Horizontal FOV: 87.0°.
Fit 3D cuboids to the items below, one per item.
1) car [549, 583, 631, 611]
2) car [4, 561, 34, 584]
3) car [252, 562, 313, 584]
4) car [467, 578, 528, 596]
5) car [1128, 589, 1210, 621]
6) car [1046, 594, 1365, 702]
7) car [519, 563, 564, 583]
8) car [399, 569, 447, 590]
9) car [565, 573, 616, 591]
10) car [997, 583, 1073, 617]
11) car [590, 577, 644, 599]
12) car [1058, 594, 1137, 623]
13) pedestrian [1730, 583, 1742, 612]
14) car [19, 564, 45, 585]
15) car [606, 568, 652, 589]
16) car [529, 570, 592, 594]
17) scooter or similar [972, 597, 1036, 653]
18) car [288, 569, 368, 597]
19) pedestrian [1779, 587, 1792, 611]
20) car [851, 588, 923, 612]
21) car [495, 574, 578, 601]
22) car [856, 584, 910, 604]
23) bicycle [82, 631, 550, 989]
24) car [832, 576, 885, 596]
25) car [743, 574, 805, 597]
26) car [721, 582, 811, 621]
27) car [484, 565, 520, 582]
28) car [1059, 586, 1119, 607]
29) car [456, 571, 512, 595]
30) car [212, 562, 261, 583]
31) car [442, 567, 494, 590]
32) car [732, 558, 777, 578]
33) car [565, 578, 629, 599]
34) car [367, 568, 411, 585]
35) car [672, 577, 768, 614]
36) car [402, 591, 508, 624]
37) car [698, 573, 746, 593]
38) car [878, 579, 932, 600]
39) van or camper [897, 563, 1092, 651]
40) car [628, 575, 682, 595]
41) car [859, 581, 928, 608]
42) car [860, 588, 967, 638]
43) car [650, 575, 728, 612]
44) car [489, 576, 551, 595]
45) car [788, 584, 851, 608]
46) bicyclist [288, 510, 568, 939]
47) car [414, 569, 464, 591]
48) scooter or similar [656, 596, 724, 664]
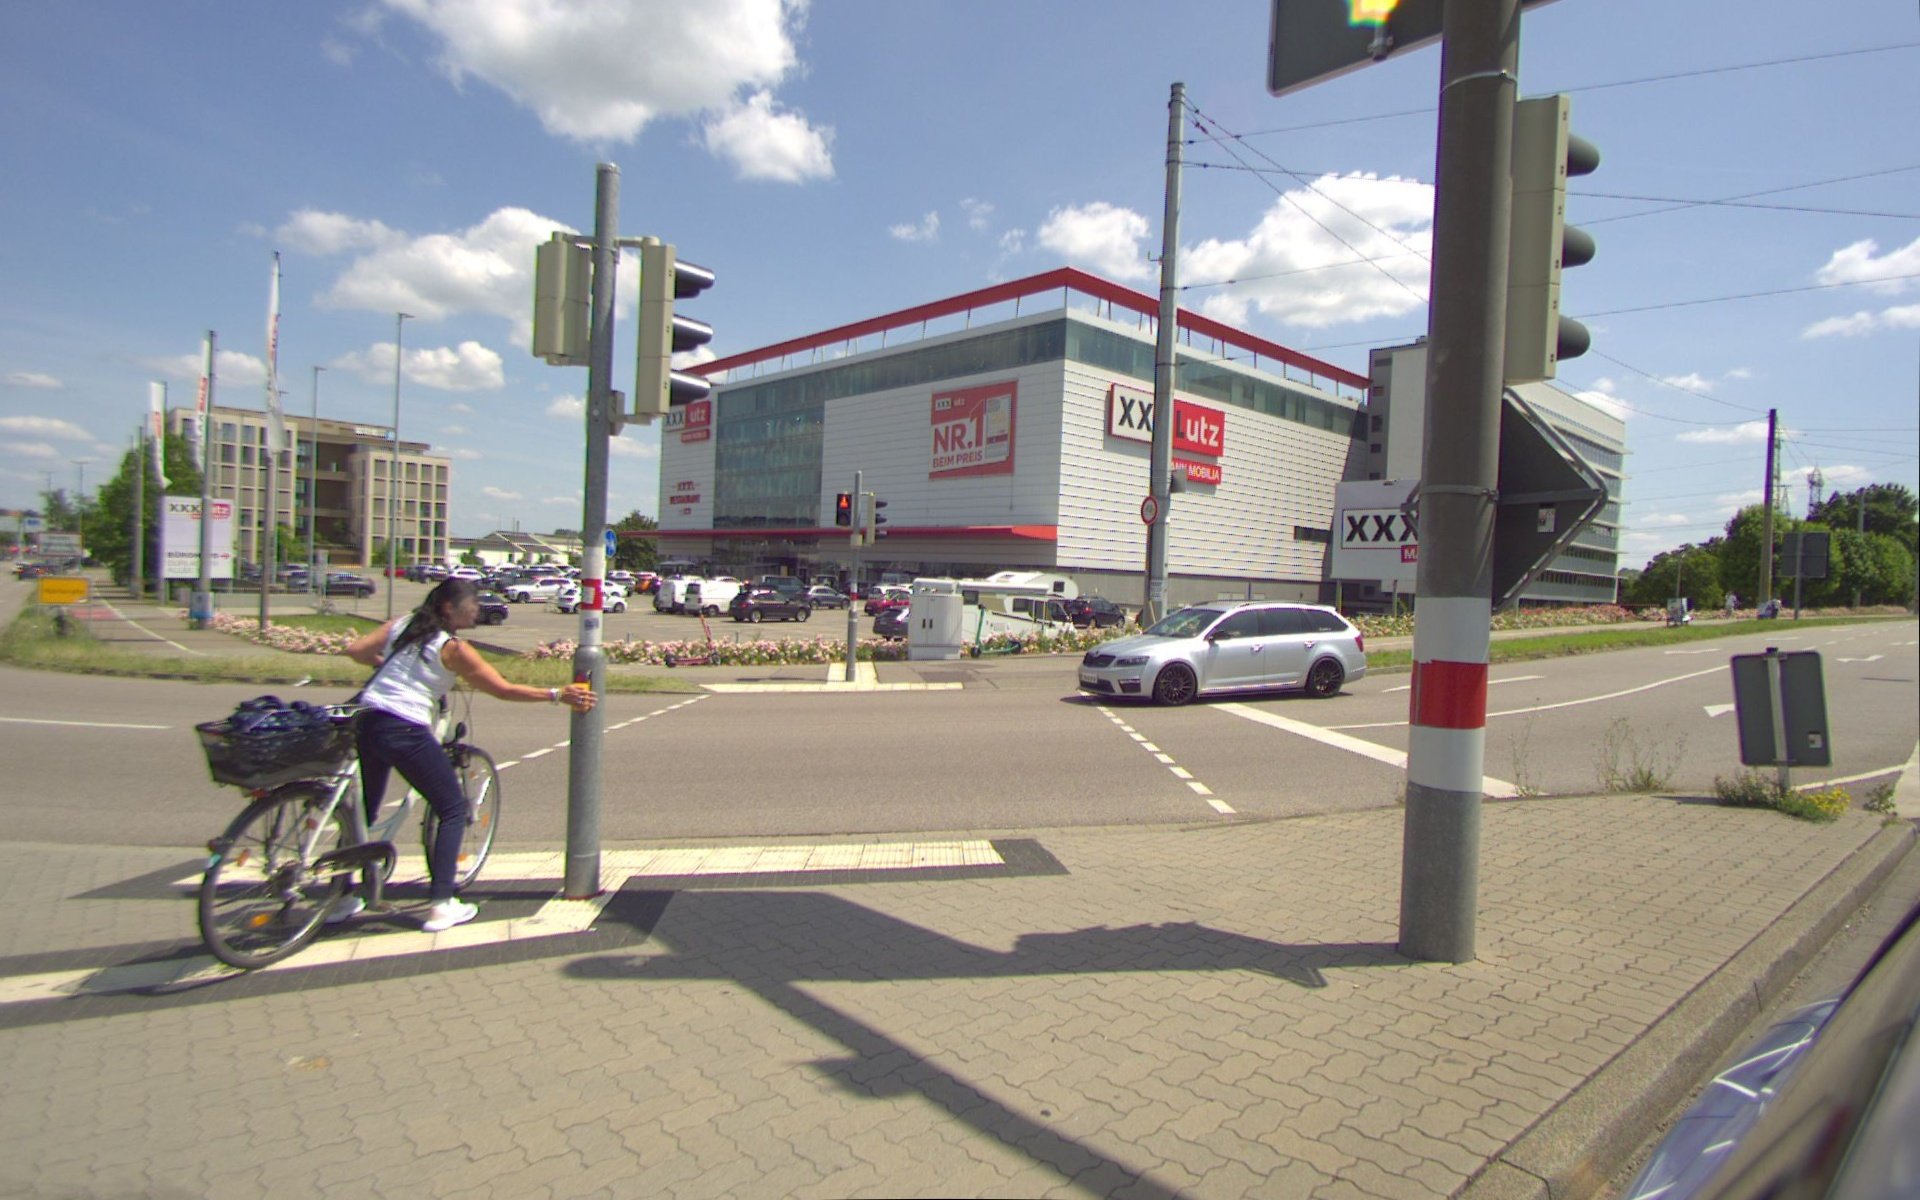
[{"bbox_3d":[-20.928,-0.184,57.320,1.847,1.565,3.939,1,1,42],"label":"car"},{"bbox_3d":[-87.442,-2.530,94.085,1.966,2.039,3.992,0,1,-42],"label":"car"},{"bbox_3d":[-55.028,-2.154,82.199,3.928,1.705,1.998,0,1,-39],"label":"car"},{"bbox_3d":[-37.517,-1.028,82.184,4.181,1.430,1.858,0,1,-41],"label":"car"},{"bbox_3d":[10.986,0.214,53.124,4.442,1.583,1.996,0,1,-42],"label":"car"},{"bbox_3d":[3.640,0.636,15.042,4.367,1.415,1.807,0,1,-22],"label":"car"},{"bbox_3d":[-43.795,-2.786,105.990,3.929,2.039,1.998,0,1,-40],"label":"car"},{"bbox_3d":[-53.949,-2.038,101.707,3.931,2.039,1.997,0,1,-42],"label":"car"},{"bbox_3d":[-34.722,-1.676,95.103,4.098,1.723,1.852,0,1,-41],"label":"car"},{"bbox_3d":[4.478,-0.015,60.074,4.443,1.918,1.996,0,1,-42],"label":"car"},{"bbox_3d":[-26.461,-0.921,78.054,3.550,1.671,1.702,0,1,-42],"label":"car"},{"bbox_3d":[7.707,0.442,56.602,4.443,1.574,1.996,0,1,-42],"label":"car"},{"bbox_3d":[48.838,-0.156,63.687,0.623,1.816,0.517,0,0,-44],"label":"pedestrian"},{"bbox_3d":[-95.303,-2.632,103.935,1.966,2.039,3.992,0,1,-42],"label":"car"},{"bbox_3d":[-33.280,-2.184,101.797,3.931,2.039,1.997,0,1,-42],"label":"car"},{"bbox_3d":[-30.531,-1.389,77.411,4.097,1.723,1.852,0,1,-41],"label":"car"},{"bbox_3d":[0.957,0.540,22.130,1.252,1.140,0.481,-3,1,-15],"label":"scooter or similar"},{"bbox_3d":[-40.737,-1.089,65.319,1.994,1.705,4.058,1,1,44],"label":"car"},{"bbox_3d":[57.187,-0.075,70.086,0.623,1.676,0.598,0,0,-44],"label":"pedestrian"},{"bbox_3d":[-4.466,-0.039,62.399,4.183,1.430,1.857,-1,1,-43],"label":"car"},{"bbox_3d":[-28.054,-0.845,67.089,4.783,1.723,1.852,0,1,-40],"label":"car"},{"bbox_3d":[-6.709,-0.528,88.125,4.445,1.714,1.995,0,1,-44],"label":"car"},{"bbox_3d":[-2.705,0.777,4.574,0.817,1.176,1.876,1,1,5],"label":"bicycle"},{"bbox_3d":[-9.059,-1.233,90.537,4.445,1.714,1.995,0,1,-44],"label":"car"},{"bbox_3d":[-14.554,-1.155,79.354,4.443,1.756,1.996,0,1,-42],"label":"car"},{"bbox_3d":[-10.158,0.055,53.109,4.409,1.936,1.589,0,1,-41],"label":"car"},{"bbox_3d":[-51.009,-2.987,112.835,3.322,1.828,1.700,0,1,-42],"label":"car"},{"bbox_3d":[8.871,-0.260,69.289,4.445,1.418,1.695,0,1,-44],"label":"car"},{"bbox_3d":[-40.534,-1.452,86.178,3.931,2.039,1.997,0,1,-42],"label":"car"},{"bbox_3d":[-73.963,-2.816,103.496,3.931,2.039,1.996,0,1,-42],"label":"car"},{"bbox_3d":[-43.504,-1.900,89.548,3.932,2.039,1.543,0,1,-43],"label":"car"},{"bbox_3d":[-21.185,-3.285,104.193,4.212,2.039,1.848,-1,1,-42],"label":"car"},{"bbox_3d":[-25.968,-0.852,72.361,3.929,1.457,1.852,0,1,-40],"label":"car"},{"bbox_3d":[-61.740,-2.546,109.459,3.933,1.749,1.734,-1,1,-43],"label":"car"},{"bbox_3d":[-13.461,-0.278,56.937,4.880,2.039,1.996,-1,1,-42],"label":"car"},{"bbox_3d":[-22.493,0.311,45.144,3.876,1.393,1.851,0,1,-43],"label":"car"},{"bbox_3d":[-20.570,-1.485,87.516,3.667,1.622,1.691,0,1,-43],"label":"car"},{"bbox_3d":[-4.632,-0.904,85.742,4.445,1.714,1.995,0,1,-44],"label":"car"},{"bbox_3d":[1.425,0.182,37.743,7.482,2.983,2.713,-1,1,-41],"label":"van or camper"},{"bbox_3d":[-25.866,-1.237,85.813,3.931,1.671,1.997,0,1,-42],"label":"car"},{"bbox_3d":[-4.534,-0.404,69.169,4.443,1.756,1.996,0,1,-42],"label":"car"},{"bbox_3d":[-1.986,0.539,44.250,4.374,2.039,1.997,0,1,-41],"label":"car"},{"bbox_3d":[-15.623,-0.385,58.472,3.932,2.039,1.996,-1,1,-42],"label":"car"},{"bbox_3d":[-35.050,-1.138,80.576,4.181,1.430,1.858,0,1,-41],"label":"car"},{"bbox_3d":[-9.362,-0.303,67.758,3.931,1.545,1.648,0,1,-42],"label":"car"},{"bbox_3d":[-2.383,0.490,4.588,0.807,1.722,0.793,1,0,22],"label":"bicyclist"},{"bbox_3d":[-50.608,-1.923,98.315,3.932,2.039,1.996,0,1,-42],"label":"car"},{"bbox_3d":[-5.372,0.579,20.148,1.252,1.307,0.481,0,0,-25],"label":"scooter or similar"}]
